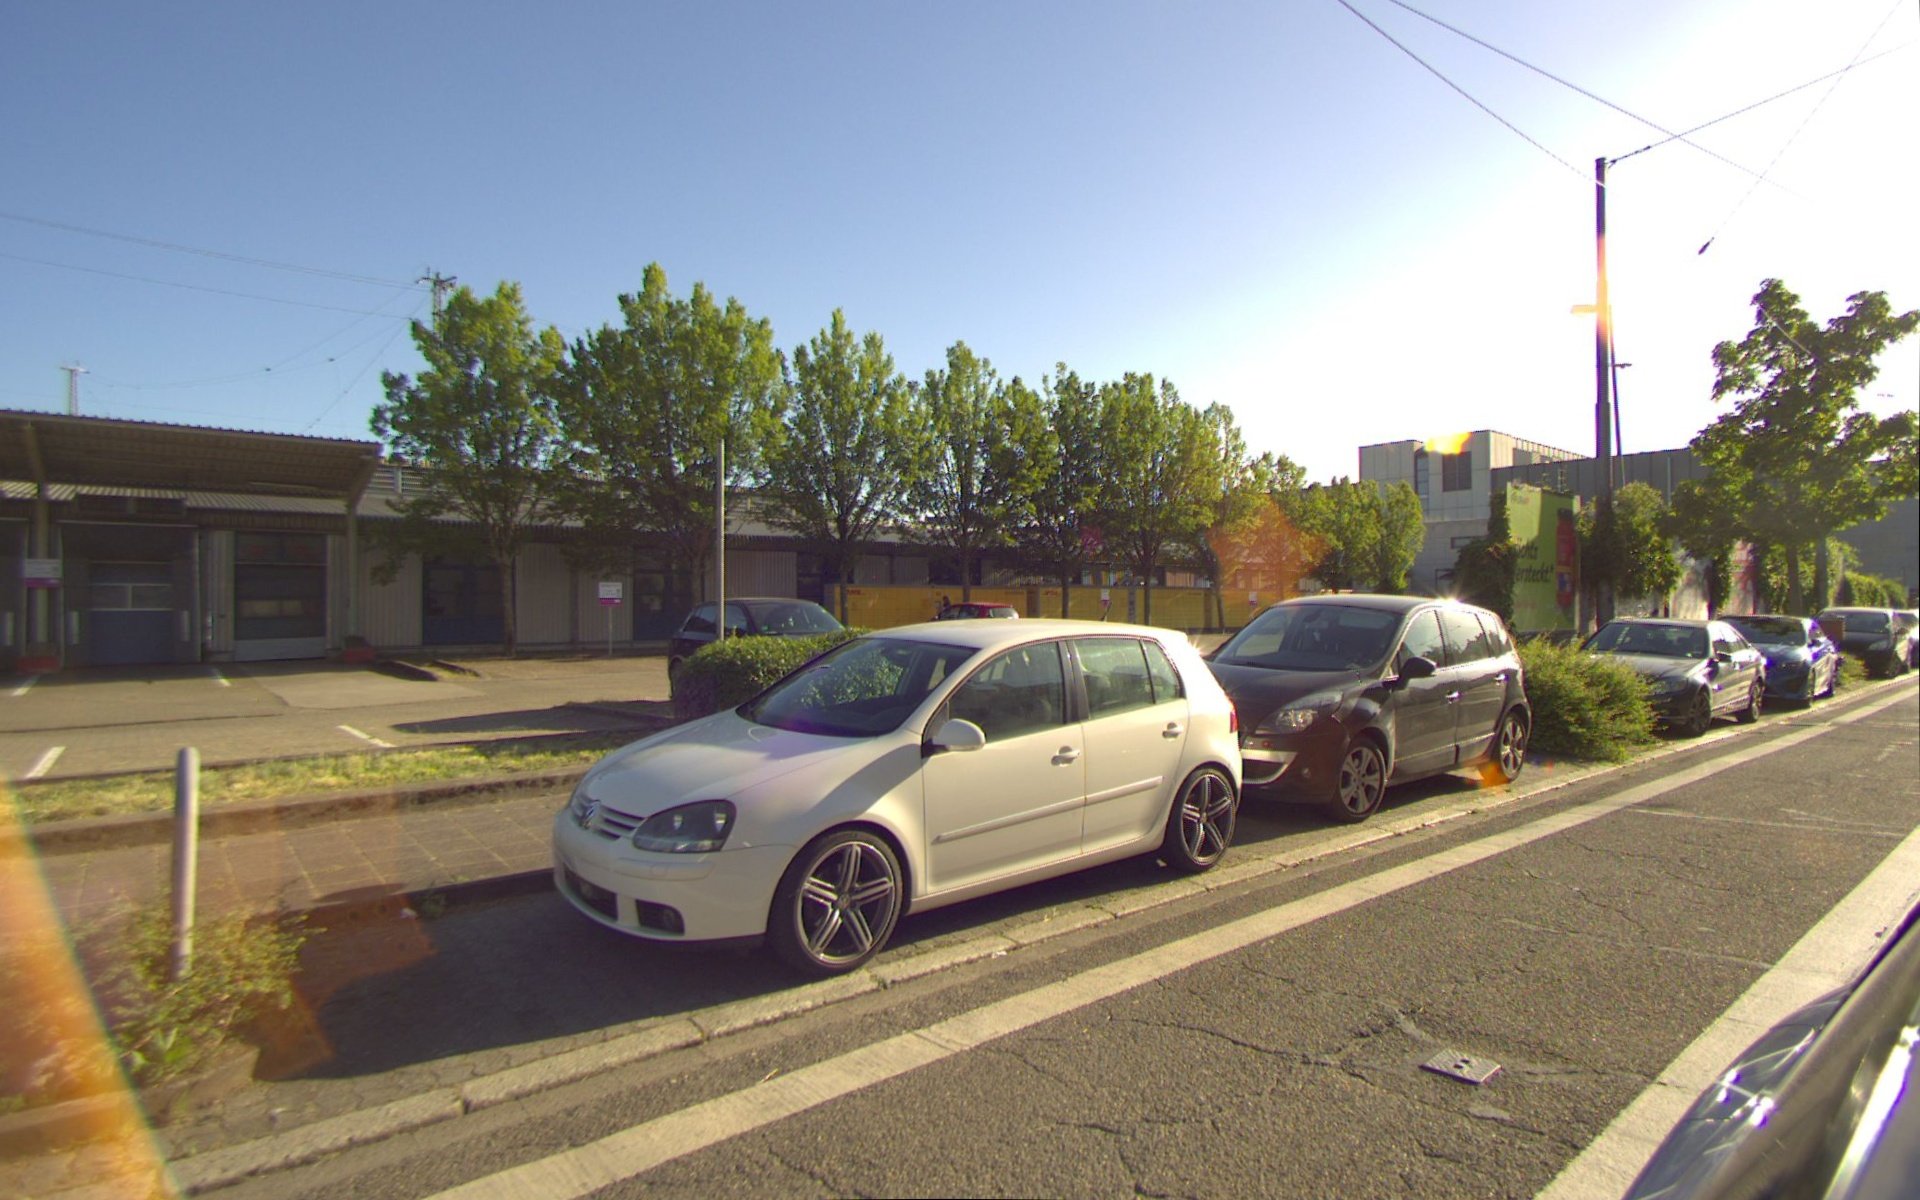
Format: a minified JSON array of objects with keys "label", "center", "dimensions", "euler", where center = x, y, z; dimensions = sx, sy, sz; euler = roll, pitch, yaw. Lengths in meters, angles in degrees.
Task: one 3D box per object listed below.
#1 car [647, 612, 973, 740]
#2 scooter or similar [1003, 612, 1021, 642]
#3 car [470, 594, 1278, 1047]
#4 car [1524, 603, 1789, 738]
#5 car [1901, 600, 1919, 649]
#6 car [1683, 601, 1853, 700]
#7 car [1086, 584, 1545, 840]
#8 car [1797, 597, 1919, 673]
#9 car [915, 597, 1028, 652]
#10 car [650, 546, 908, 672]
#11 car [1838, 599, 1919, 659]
[{"label":"car","center":[-1.435,0.687,10.168],"dimensions":[3.003,1.046,1.311],"euler":[-1,-2,-41]},{"label":"scooter or similar","center":[1.733,0.886,33.524],"dimensions":[0.321,0.986,1.178],"euler":[-2,-2,15]},{"label":"car","center":[-0.200,0.752,5.515],"dimensions":[4.176,1.531,1.731],"euler":[-1,1,-40]},{"label":"car","center":[9.449,0.831,13.594],"dimensions":[4.418,1.483,1.731],"euler":[-1,-2,-39]},{"label":"car","center":[31.907,0.741,32.499],"dimensions":[4.519,1.503,1.828],"euler":[-1,-2,-39]},{"label":"car","center":[14.093,0.802,17.564],"dimensions":[4.269,1.483,1.729],"euler":[-1,-2,-44]},{"label":"car","center":[3.151,0.685,8.509],"dimensions":[4.266,1.624,1.731],"euler":[-1,1,-40]},{"label":"car","center":[20.628,0.726,23.089],"dimensions":[3.749,1.511,1.827],"euler":[-1,1,-42]},{"label":"car","center":[0.303,0.697,30.284],"dimensions":[1.708,1.515,3.321],"euler":[-1,0,-37]},{"label":"car","center":[-2.510,0.156,13.406],"dimensions":[1.728,1.418,3.708],"euler":[0,-2,-40]},{"label":"car","center":[25.463,0.743,27.396],"dimensions":[4.559,1.470,1.828],"euler":[-1,0,-39]}]
